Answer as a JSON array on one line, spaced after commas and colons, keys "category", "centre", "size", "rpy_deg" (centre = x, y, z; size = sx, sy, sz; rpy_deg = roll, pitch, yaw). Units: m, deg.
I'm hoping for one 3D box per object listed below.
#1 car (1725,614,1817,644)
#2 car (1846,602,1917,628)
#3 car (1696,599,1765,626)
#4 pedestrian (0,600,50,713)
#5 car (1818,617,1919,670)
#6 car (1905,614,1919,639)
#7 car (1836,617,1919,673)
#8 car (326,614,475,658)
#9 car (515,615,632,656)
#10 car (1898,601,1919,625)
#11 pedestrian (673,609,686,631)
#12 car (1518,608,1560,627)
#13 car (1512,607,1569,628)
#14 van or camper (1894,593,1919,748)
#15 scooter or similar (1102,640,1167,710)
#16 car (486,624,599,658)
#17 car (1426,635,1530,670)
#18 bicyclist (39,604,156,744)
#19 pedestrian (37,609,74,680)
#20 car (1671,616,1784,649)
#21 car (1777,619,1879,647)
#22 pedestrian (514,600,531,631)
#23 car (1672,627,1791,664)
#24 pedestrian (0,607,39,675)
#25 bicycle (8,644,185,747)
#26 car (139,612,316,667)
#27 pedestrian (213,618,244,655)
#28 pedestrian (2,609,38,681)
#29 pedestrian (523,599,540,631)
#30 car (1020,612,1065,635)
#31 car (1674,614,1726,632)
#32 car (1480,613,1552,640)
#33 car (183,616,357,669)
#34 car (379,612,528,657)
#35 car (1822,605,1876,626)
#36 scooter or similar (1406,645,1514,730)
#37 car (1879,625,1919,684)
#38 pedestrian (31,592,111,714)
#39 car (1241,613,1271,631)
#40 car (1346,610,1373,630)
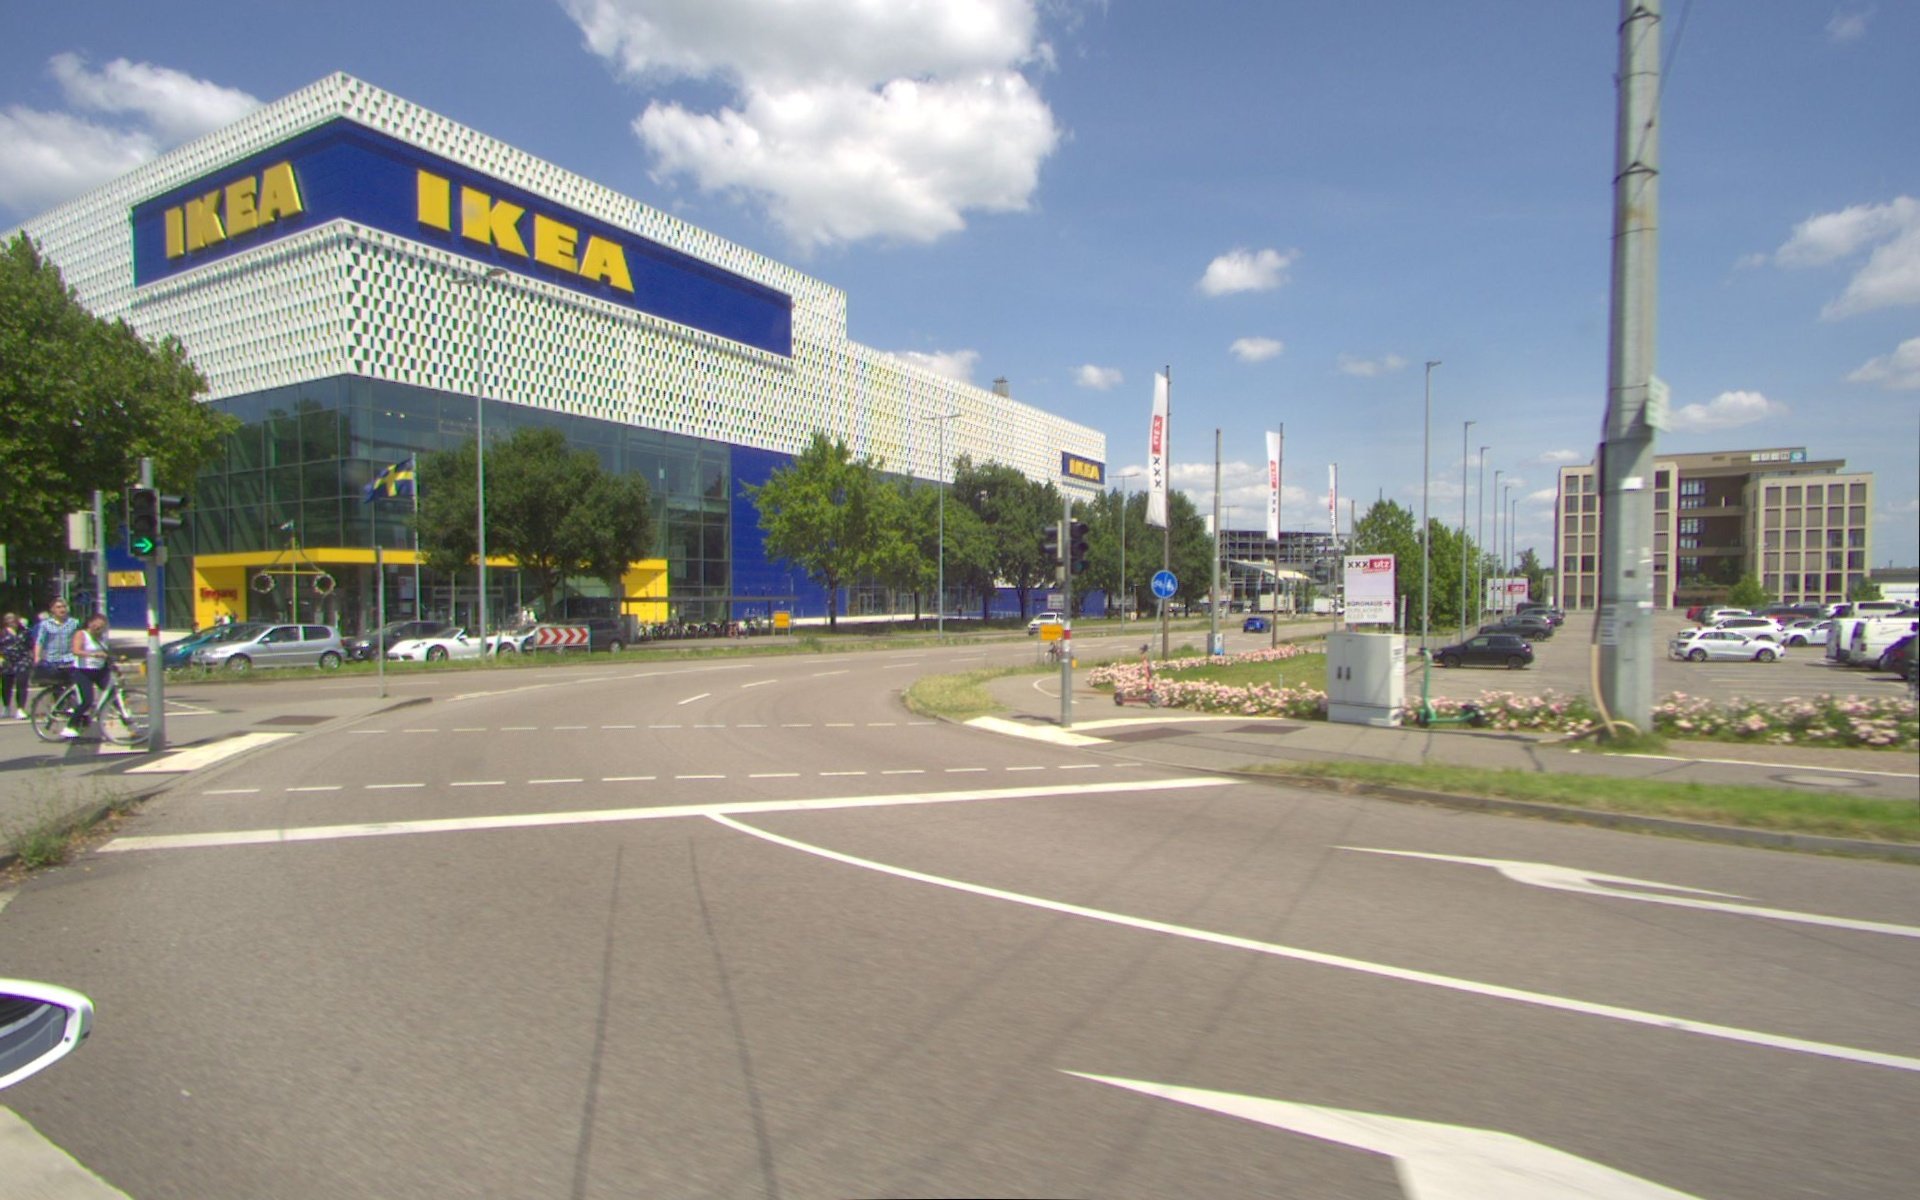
[{"category": "car", "centre": [49.011, 1.711, 60.614], "size": [4.114, 1.724, 1.843], "rpy_deg": [0, 0, 35]}, {"category": "car", "centre": [73.760, 1.217, 80.258], "size": [3.946, 2.040, 1.988], "rpy_deg": [0, -1, 35]}, {"category": "car", "centre": [58.100, 0.958, 75.565], "size": [3.943, 2.040, 1.538], "rpy_deg": [0, -1, 33]}, {"category": "pedestrian", "centre": [-15.326, 0.896, 16.151], "size": [0.787, 1.782, 0.801], "rpy_deg": [0, 0, 35]}, {"category": "car", "centre": [36.957, 1.711, 39.901], "size": [3.944, 2.039, 1.990], "rpy_deg": [-1, -1, 33]}, {"category": "car", "centre": [66.250, 1.791, 67.006], "size": [4.114, 1.724, 1.844], "rpy_deg": [-1, -1, 35]}, {"category": "car", "centre": [36.108, 1.673, 37.337], "size": [4.896, 2.039, 1.989], "rpy_deg": [-1, -1, 33]}, {"category": "car", "centre": [-20.001, 1.265, 35.977], "size": [1.825, 1.462, 4.396], "rpy_deg": [0, -1, 29]}, {"category": "car", "centre": [-16.133, 1.458, 41.986], "size": [1.837, 1.605, 4.391], "rpy_deg": [0, -1, 33]}, {"category": "car", "centre": [83.441, 1.137, 85.932], "size": [3.941, 2.040, 1.991], "rpy_deg": [0, -1, 31]}, {"category": "pedestrian", "centre": [-20.448, 1.477, 73.028], "size": [0.570, 1.607, 0.766], "rpy_deg": [0, 1, 25]}, {"category": "car", "centre": [63.560, 1.931, 109.935], "size": [3.943, 2.040, 1.989], "rpy_deg": [0, -1, 33]}, {"category": "car", "centre": [48.972, 1.477, 84.496], "size": [3.947, 1.706, 1.988], "rpy_deg": [0, -1, 36]}, {"category": "van or camper", "centre": [21.941, 1.322, 17.729], "size": [7.508, 2.984, 2.703], "rpy_deg": [-1, -1, 34]}, {"category": "scooter or similar", "centre": [3.446, 1.469, 19.837], "size": [0.475, 1.307, 1.268], "rpy_deg": [0, -1, -40]}, {"category": "car", "centre": [-18.534, 1.801, 44.646], "size": [1.837, 1.416, 4.391], "rpy_deg": [0, -1, 33]}, {"category": "car", "centre": [22.342, 2.233, 43.228], "size": [3.886, 1.394, 1.845], "rpy_deg": [0, -1, 32]}, {"category": "bicyclist", "centre": [-11.126, 0.929, 12.937], "size": [0.784, 1.723, 0.815], "rpy_deg": [2, 0, 15]}, {"category": "pedestrian", "centre": [-21.462, 1.056, 23.760], "size": [0.855, 1.658, 0.599], "rpy_deg": [-2, -1, 45]}, {"category": "car", "centre": [41.580, 1.723, 54.412], "size": [4.805, 1.724, 1.843], "rpy_deg": [0, -1, 36]}, {"category": "car", "centre": [46.723, 1.759, 54.016], "size": [3.947, 1.457, 1.843], "rpy_deg": [0, -1, 35]}, {"category": "pedestrian", "centre": [-28.335, 1.003, 64.912], "size": [0.725, 2.040, 0.793], "rpy_deg": [1, 1, 42]}, {"category": "car", "centre": [34.437, 2.015, 44.843], "size": [3.936, 1.566, 1.848], "rpy_deg": [0, -1, 27]}, {"category": "pedestrian", "centre": [-23.676, 1.022, 25.138], "size": [0.789, 1.681, 0.844], "rpy_deg": [0, 0, -43]}, {"category": "bicycle", "centre": [-11.142, 1.201, 12.936], "size": [1.844, 1.177, 0.831], "rpy_deg": [1, 0, 15]}, {"category": "car", "centre": [-22.582, 1.190, 31.031], "size": [1.969, 1.576, 3.984], "rpy_deg": [0, -1, 29]}, {"category": "pedestrian", "centre": [-32.364, 1.603, 44.331], "size": [0.623, 1.607, 0.918], "rpy_deg": [0, 0, 25]}, {"category": "pedestrian", "centre": [-21.891, 1.043, 23.317], "size": [0.855, 1.658, 0.602], "rpy_deg": [-2, -1, 45]}, {"category": "pedestrian", "centre": [-27.491, 0.986, 64.276], "size": [0.724, 2.040, 0.794], "rpy_deg": [1, 1, 38]}, {"category": "car", "centre": [6.130, 1.759, 74.115], "size": [1.968, 1.661, 4.068], "rpy_deg": [0, -1, 26]}, {"category": "car", "centre": [72.620, 2.260, 98.330], "size": [3.943, 1.750, 1.729], "rpy_deg": [-1, -1, 32]}, {"category": "car", "centre": [36.727, 1.716, 66.198], "size": [4.061, 1.706, 1.991], "rpy_deg": [0, -1, 30]}, {"category": "car", "centre": [-19.968, 1.196, 29.115], "size": [1.778, 1.415, 3.816], "rpy_deg": [0, -1, 33]}, {"category": "car", "centre": [-17.133, 1.139, 34.027], "size": [1.779, 1.416, 4.209], "rpy_deg": [0, -1, 34]}, {"category": "car", "centre": [78.782, 1.368, 88.756], "size": [3.333, 1.828, 1.693], "rpy_deg": [0, -1, 33]}, {"category": "scooter or similar", "centre": [7.046, 1.233, 14.152], "size": [0.473, 1.140, 1.273], "rpy_deg": [0, -4, -30]}, {"category": "car", "centre": [33.311, 1.813, 32.842], "size": [4.426, 1.937, 1.582], "rpy_deg": [0, 0, 34]}, {"category": "pedestrian", "centre": [-14.335, 0.836, 16.157], "size": [0.787, 1.889, 0.801], "rpy_deg": [0, 0, 35]}, {"category": "car", "centre": [26.923, 1.989, 91.115], "size": [1.736, 1.633, 3.531], "rpy_deg": [0, -1, 32]}, {"category": "car", "centre": [41.772, 2.096, 104.769], "size": [1.971, 2.040, 3.980], "rpy_deg": [0, -1, 32]}]
